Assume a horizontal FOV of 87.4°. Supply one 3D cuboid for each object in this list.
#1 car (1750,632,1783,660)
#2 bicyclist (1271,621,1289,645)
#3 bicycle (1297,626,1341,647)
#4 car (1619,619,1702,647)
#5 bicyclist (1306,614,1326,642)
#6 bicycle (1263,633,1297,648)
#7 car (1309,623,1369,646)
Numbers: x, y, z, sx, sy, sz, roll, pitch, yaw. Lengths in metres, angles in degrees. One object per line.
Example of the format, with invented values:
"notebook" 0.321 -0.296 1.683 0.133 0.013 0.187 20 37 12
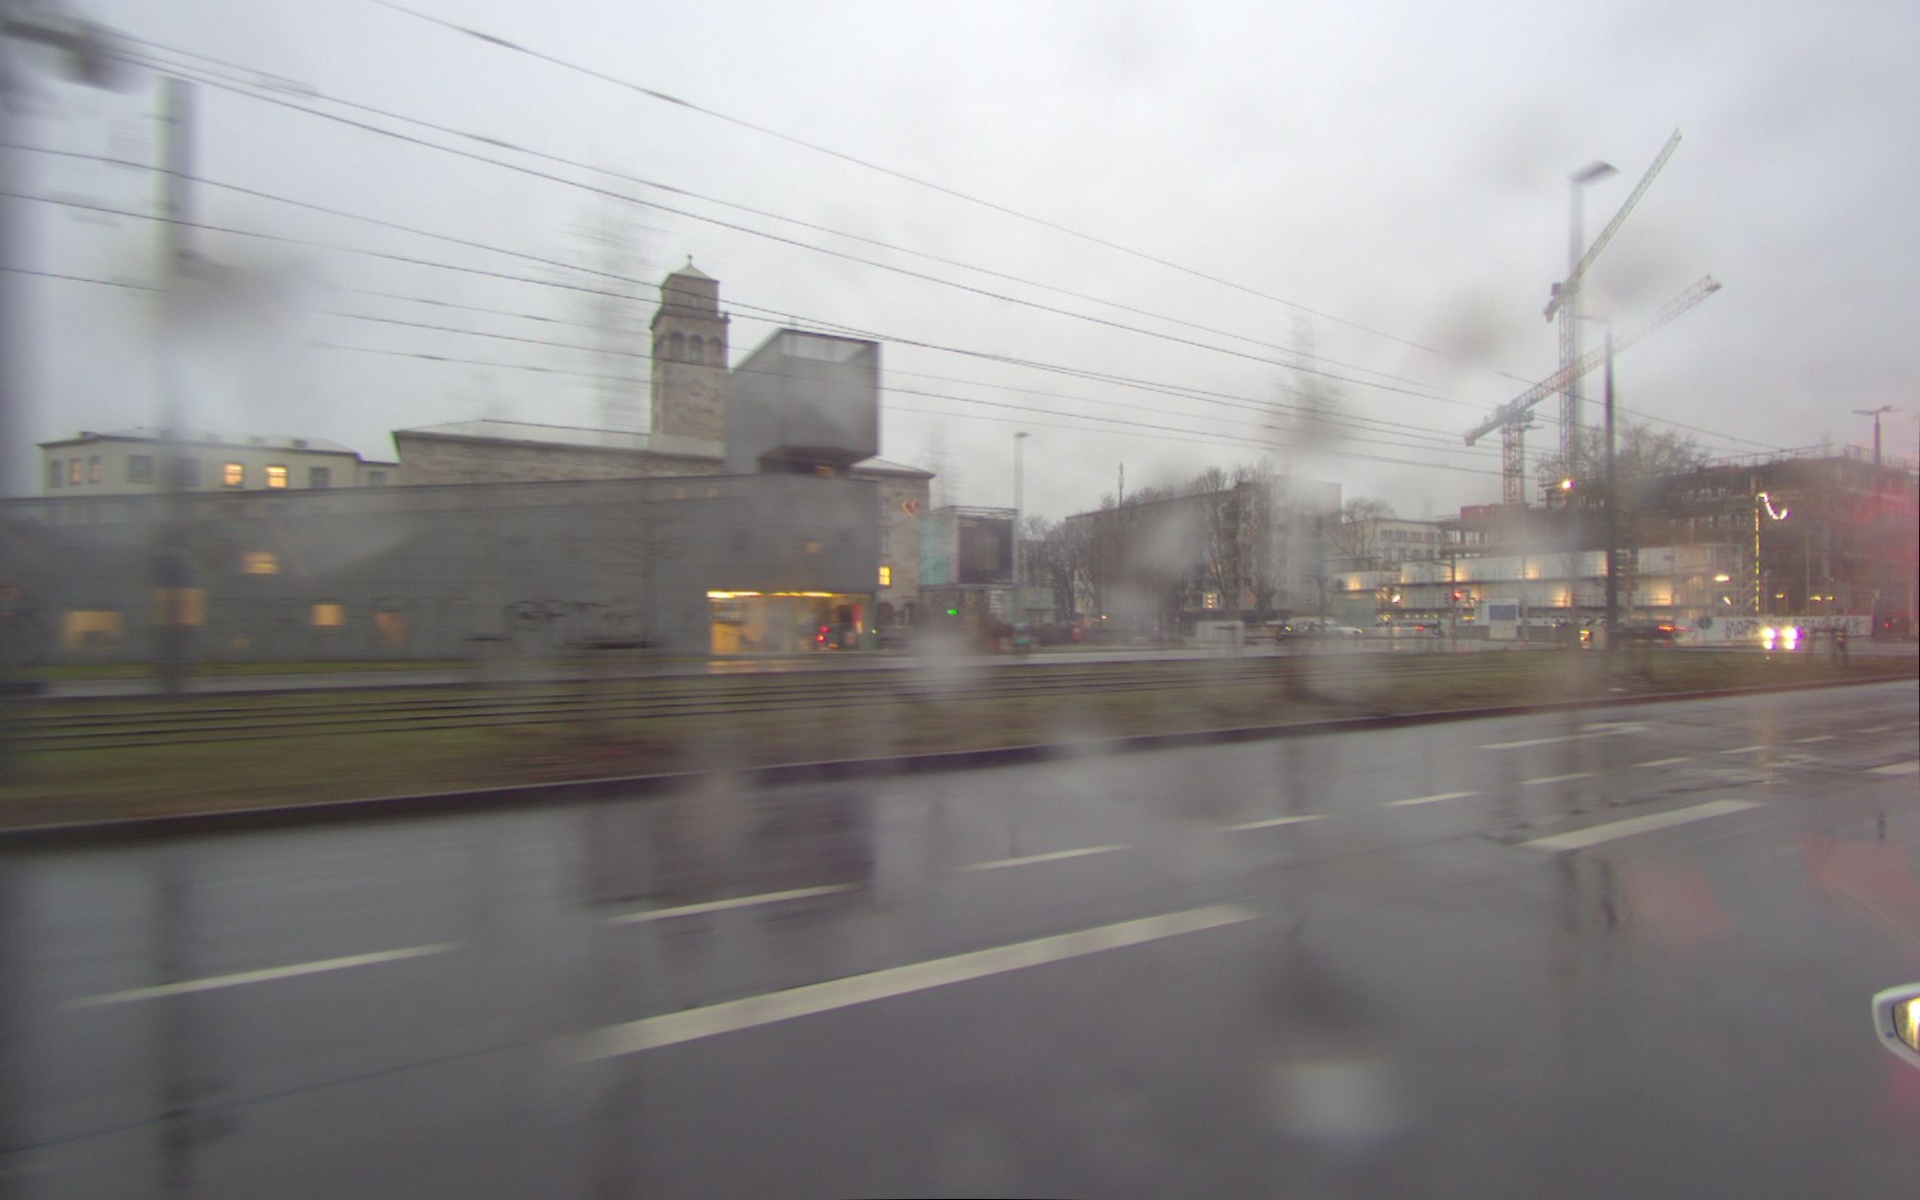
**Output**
"car" 61.952 3.529 77.148 1.736 2.040 3.978 -1 -1 42
"bicyclist" 22.607 2.345 71.005 0.611 1.719 1.026 1 -1 -35
"bicycle" 23.938 2.434 67.092 0.714 1.380 2.810 1 -2 -37
"car" 45.185 2.148 64.841 3.919 1.773 2.001 0 -1 8
"bicyclist" 23.839 1.855 67.243 0.714 1.863 0.986 1 -2 -38
"bicycle" 22.603 2.847 70.991 0.611 1.046 2.357 1 -2 -35
"car" 29.189 2.667 77.463 1.978 1.706 3.966 1 -2 -32
